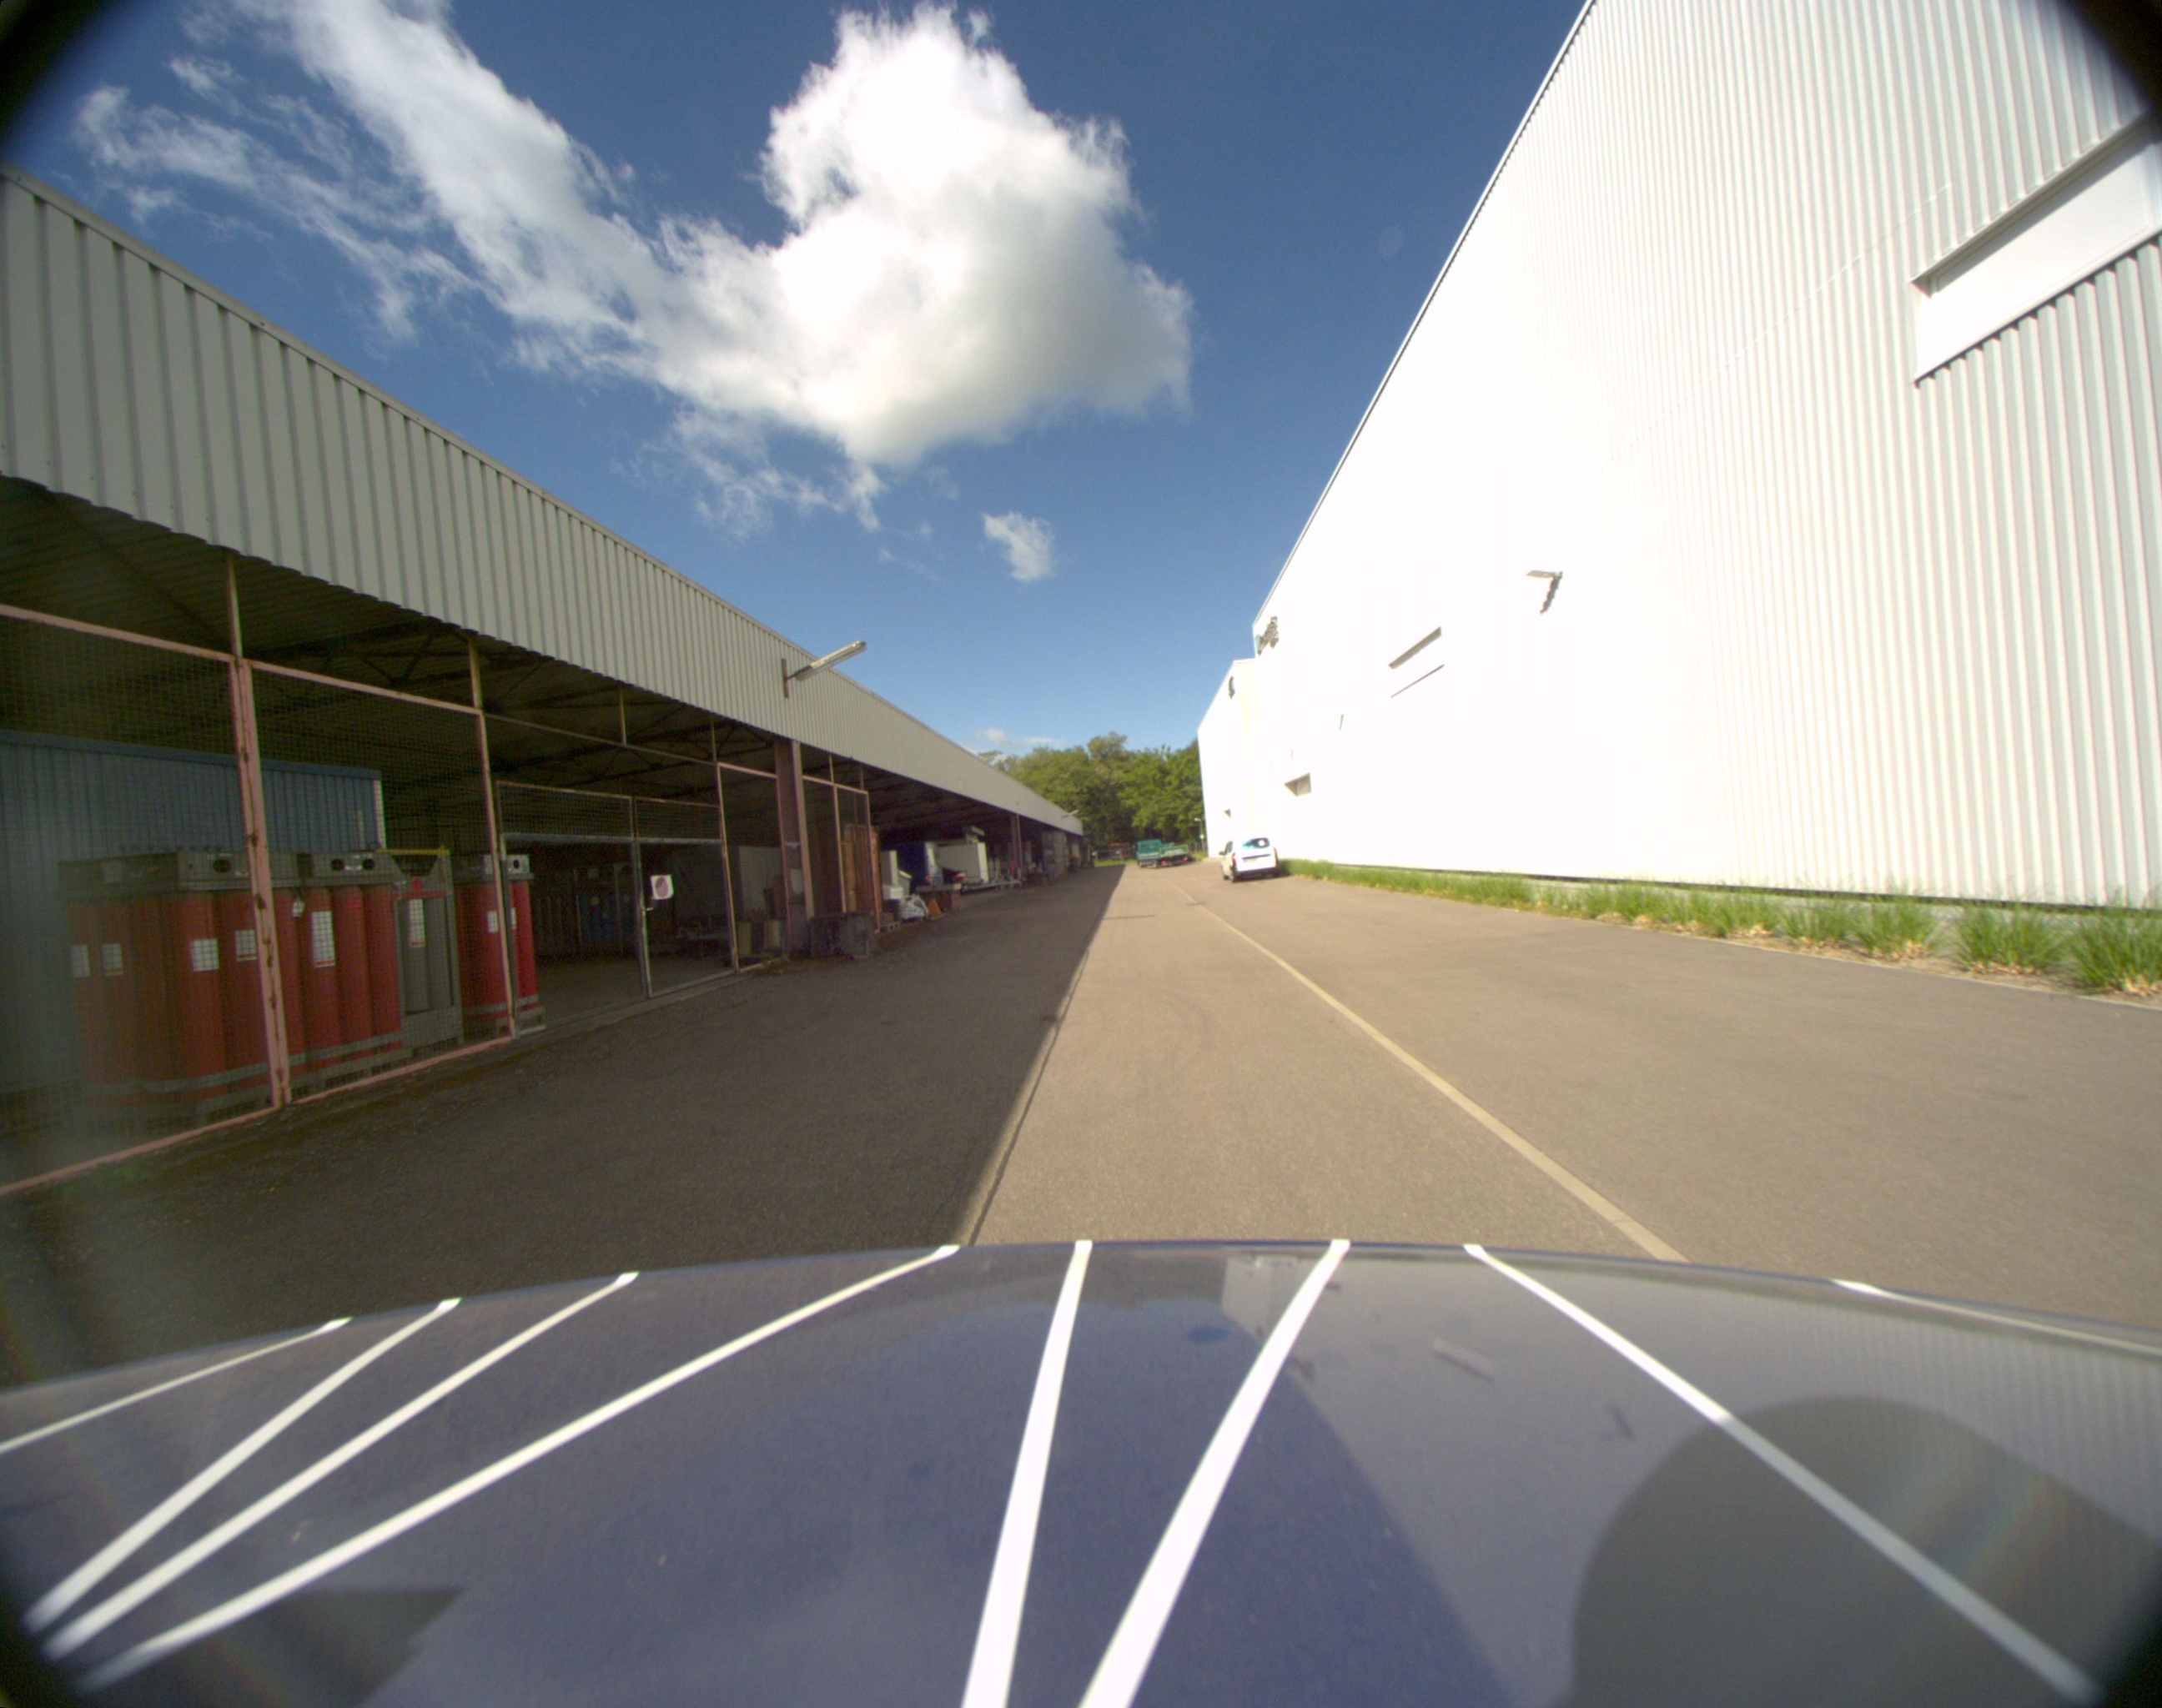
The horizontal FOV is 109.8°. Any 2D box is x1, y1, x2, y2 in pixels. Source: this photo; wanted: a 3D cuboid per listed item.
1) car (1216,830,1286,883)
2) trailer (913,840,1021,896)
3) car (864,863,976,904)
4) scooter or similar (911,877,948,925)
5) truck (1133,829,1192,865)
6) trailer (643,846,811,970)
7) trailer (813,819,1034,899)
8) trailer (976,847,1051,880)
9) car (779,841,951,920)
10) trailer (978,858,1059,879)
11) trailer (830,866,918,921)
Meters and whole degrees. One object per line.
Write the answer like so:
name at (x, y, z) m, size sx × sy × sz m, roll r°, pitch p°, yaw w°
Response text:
car at (6.800, 0.074, 30.887) m, size 1.933 × 1.779 × 4.598 m, roll -6°, pitch 0°, yaw 4°
trailer at (-5.257, 0.633, 35.353) m, size 4.552 × 2.321 × 1.689 m, roll -3°, pitch 1°, yaw 4°
car at (-6.895, 1.238, 32.867) m, size 4.355 × 1.425 × 1.865 m, roll -3°, pitch 1°, yaw 1°
scooter or similar at (-4.089, 1.259, 20.622) m, size 0.521 × 1.128 × 1.592 m, roll -4°, pitch 1°, yaw 3°
truck at (7.221, -0.484, 68.701) m, size 2.589 × 2.701 × 9.689 m, roll -7°, pitch 0°, yaw -9°
trailer at (-7.025, 0.962, 15.481) m, size 1.581 × 2.131 × 3.521 m, roll -3°, pitch 1°, yaw 1°
trailer at (-7.755, 0.270, 38.036) m, size 10.315 × 3.276 × 2.676 m, roll -3°, pitch 1°, yaw 4°
trailer at (-4.744, 0.669, 53.651) m, size 4.827 × 1.985 × 2.047 m, roll -3°, pitch 1°, yaw 7°
car at (-7.464, 0.878, 26.624) m, size 5.228 × 2.284 × 2.084 m, roll -4°, pitch 1°, yaw 3°
trailer at (-4.645, 1.096, 56.993) m, size 5.747 × 1.126 × 2.009 m, roll -4°, pitch 0°, yaw 2°
trailer at (-6.489, 1.228, 23.959) m, size 2.098 × 1.454 × 1.642 m, roll -4°, pitch 1°, yaw 7°
